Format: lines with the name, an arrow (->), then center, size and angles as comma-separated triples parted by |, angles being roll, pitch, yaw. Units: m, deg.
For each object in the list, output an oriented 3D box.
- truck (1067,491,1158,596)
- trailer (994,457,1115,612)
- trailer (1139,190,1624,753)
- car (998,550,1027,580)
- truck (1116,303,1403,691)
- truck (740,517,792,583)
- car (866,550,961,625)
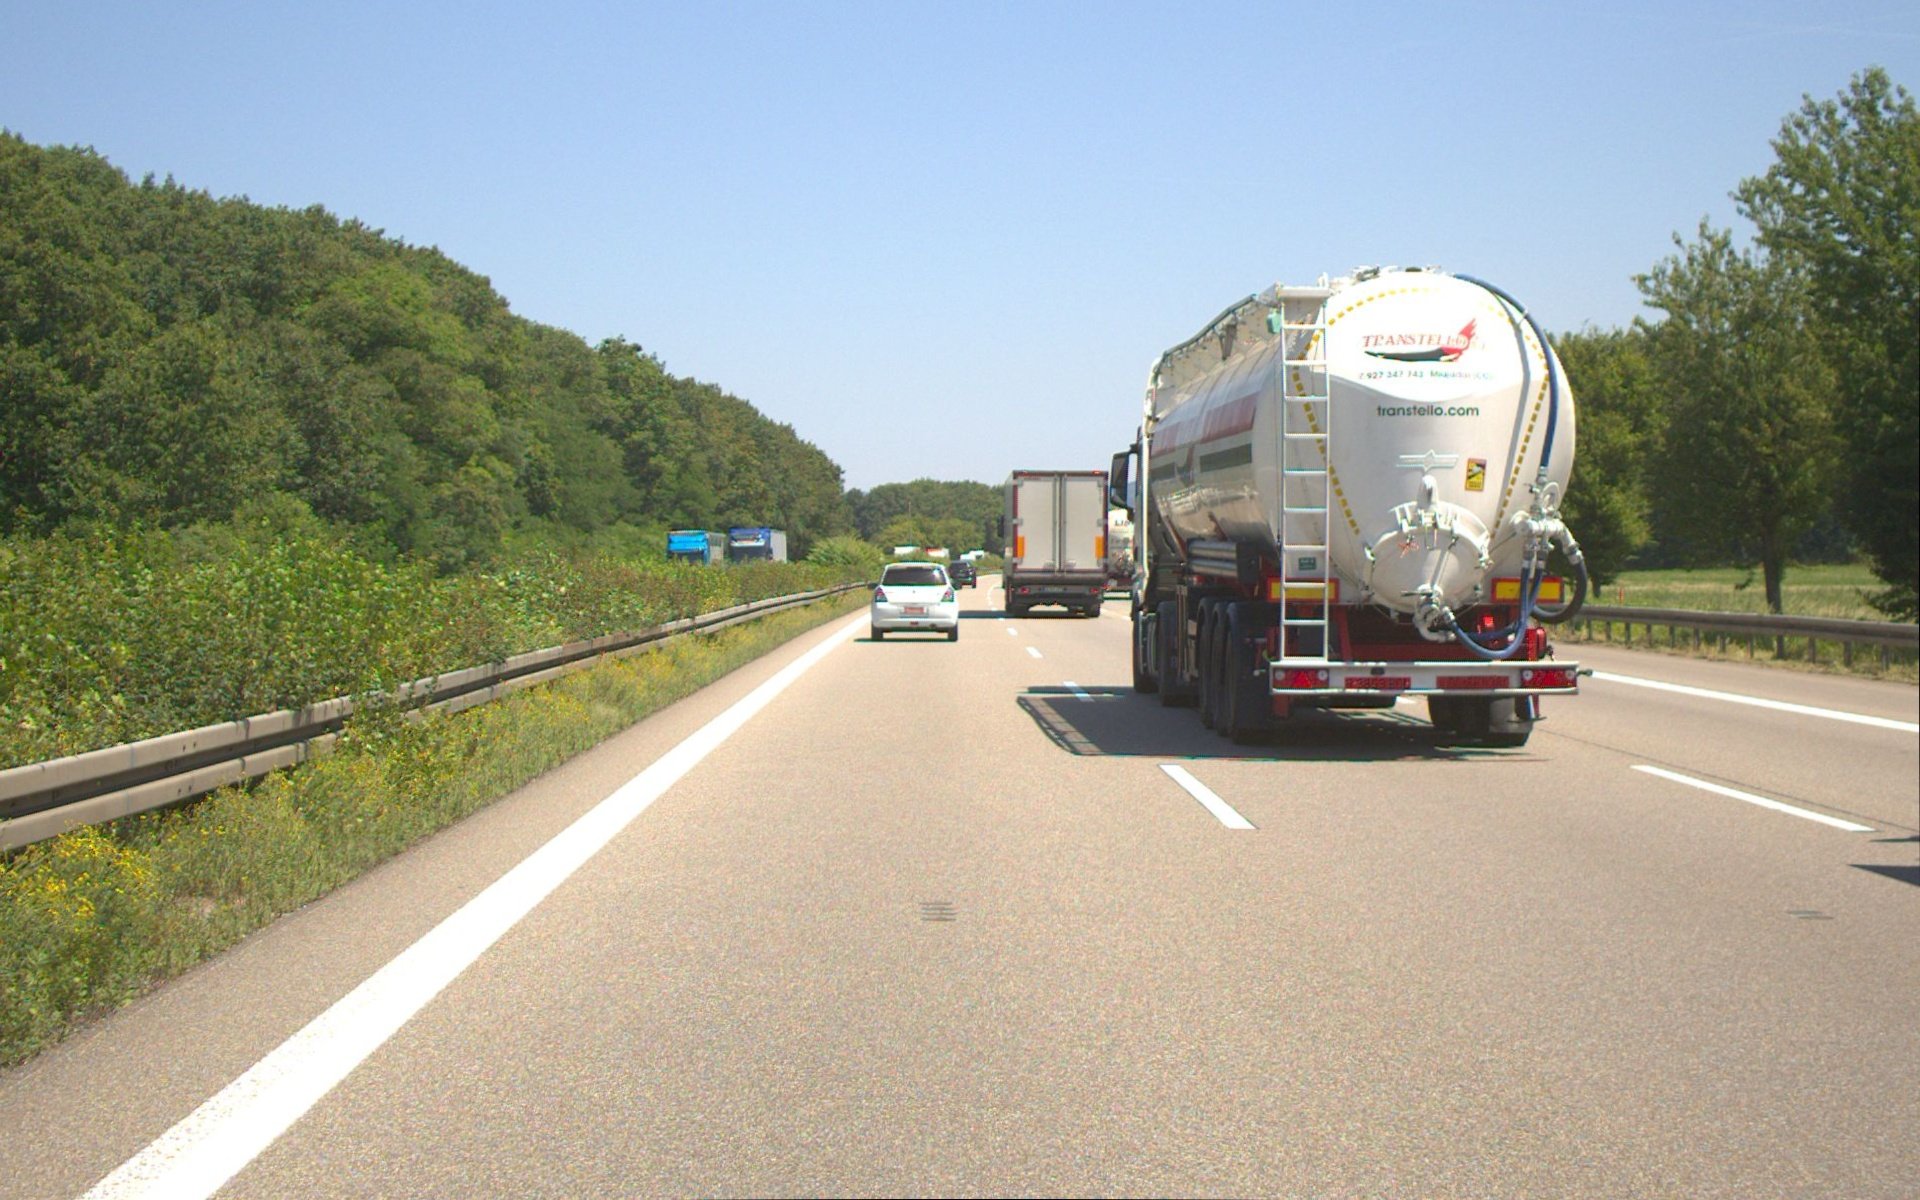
truck -> 6.462, -2.411, 147.395 | 3.223, 4.330, 10.808 | -1, 1, -1
trailer -> 2.805, -1.846, 98.443 | 3.224, 4.129, 12.351 | 0, 1, 3
trailer -> 3.483, -1.051, 31.926 | 2.790, 4.190, 12.354 | -1, 1, -1
car -> 3.158, -2.098, 205.705 | 1.668, 1.759, 4.000 | 0, 1, 0
truck -> 3.371, -1.153, 39.819 | 2.790, 4.190, 5.000 | -1, 1, -1
truck -> -11.895, -3.068, 211.379 | 2.870, 3.996, 5.000 | 0, 1, 0
car -> -0.922, -0.265, 67.010 | 1.811, 1.400, 3.317 | -1, 1, -1
